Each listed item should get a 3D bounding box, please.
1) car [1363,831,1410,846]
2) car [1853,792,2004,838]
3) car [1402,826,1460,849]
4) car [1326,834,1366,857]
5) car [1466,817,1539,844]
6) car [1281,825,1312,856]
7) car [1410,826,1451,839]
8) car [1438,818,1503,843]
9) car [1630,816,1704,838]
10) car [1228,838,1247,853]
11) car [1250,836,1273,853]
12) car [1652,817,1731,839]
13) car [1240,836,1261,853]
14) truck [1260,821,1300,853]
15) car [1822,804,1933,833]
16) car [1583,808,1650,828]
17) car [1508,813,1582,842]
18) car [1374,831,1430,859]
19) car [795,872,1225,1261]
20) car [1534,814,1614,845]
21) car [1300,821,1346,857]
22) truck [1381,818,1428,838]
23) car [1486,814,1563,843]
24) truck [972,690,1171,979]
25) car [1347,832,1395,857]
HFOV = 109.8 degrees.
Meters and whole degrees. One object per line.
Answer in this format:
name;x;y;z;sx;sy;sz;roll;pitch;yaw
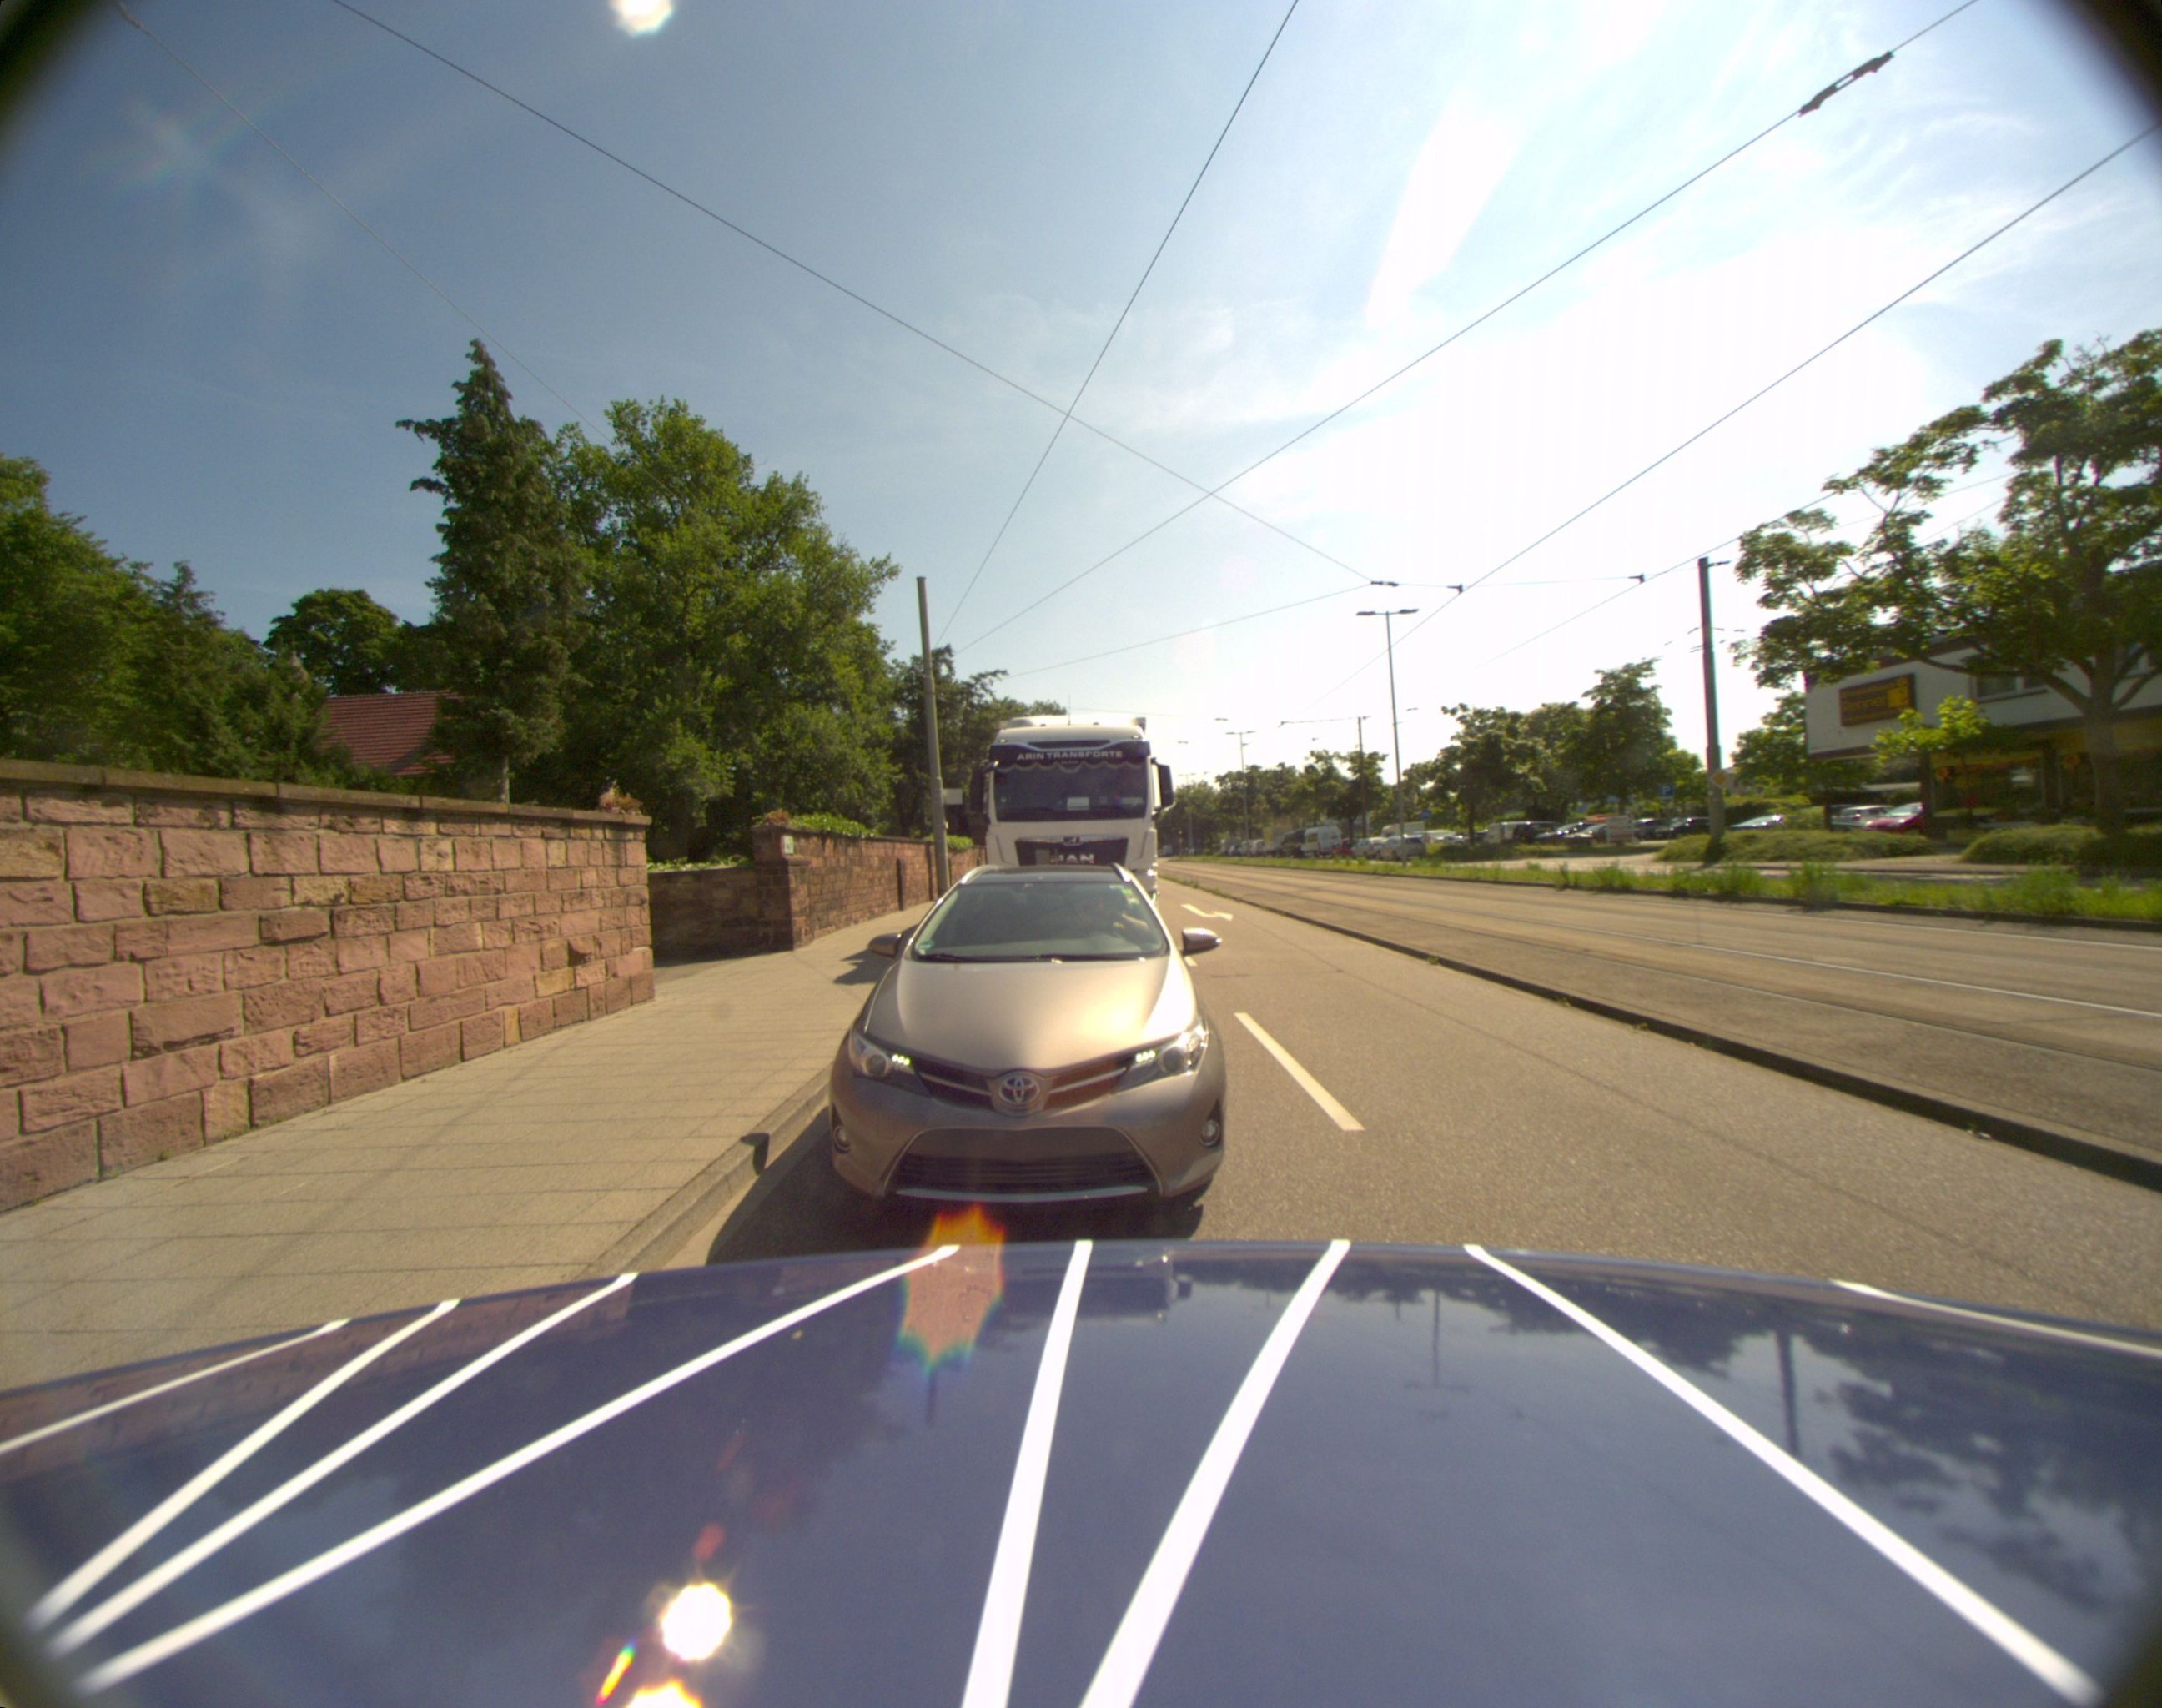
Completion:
car;32.312;-1.597;80.405;4.253;1.327;1.676;-3;0;1
car;35.260;-1.585;31.691;4.252;1.595;1.676;-3;1;2
car;31.166;-1.404;67.888;2.594;1.800;5.741;-3;0;2
car;20.475;-0.652;58.763;1.675;1.524;3.793;-6;0;1
car;30.531;-1.686;55.147;4.117;1.728;1.990;-3;1;-2
car;19.934;-1.207;70.351;1.502;2.609;4.007;-6;0;1
car;43.732;-2.627;95.118;4.253;1.327;1.676;-3;0;1
car;31.228;-1.877;60.985;4.117;1.728;1.990;-3;1;-2
car;44.215;-2.033;57.386;4.252;1.327;1.676;-3;0;2
car;20.617;-1.091;100.080;1.502;1.775;3.687;-6;0;0
car;20.703;-1.058;87.380;1.502;1.793;4.633;-6;0;1
car;44.024;-1.871;54.861;4.252;1.327;1.676;-3;0;2
car;20.960;-1.169;94.227;1.502;1.835;4.059;-6;0;0
truck;20.574;-1.756;78.923;2.508;2.917;5.903;-6;0;2
car;44.229;-1.960;42.246;4.252;1.327;1.676;-3;0;2
car;44.028;-2.921;62.523;4.254;1.327;1.676;-3;0;-1
car;30.575;-1.718;50.152;3.810;1.625;1.676;-3;1;2
car;20.286;-0.537;48.178;1.675;1.524;4.256;-6;0;1
car;-0.261;0.893;5.003;1.654;1.374;4.000;-2;0;0
car;30.517;-1.507;47.125;3.810;1.625;1.676;-3;1;2
car;20.280;-1.228;63.998;2.062;2.638;5.203;-6;0;1
truck;44.734;-3.550;105.197;5.652;2.367;1.990;-3;1;-2
car;30.691;-1.774;52.677;4.117;1.728;1.990;-3;1;-2
truck;-0.038;-0.319;15.105;2.628;3.906;9.285;-2;1;1
car;20.443;-0.629;53.665;1.675;1.524;4.256;-6;0;1
